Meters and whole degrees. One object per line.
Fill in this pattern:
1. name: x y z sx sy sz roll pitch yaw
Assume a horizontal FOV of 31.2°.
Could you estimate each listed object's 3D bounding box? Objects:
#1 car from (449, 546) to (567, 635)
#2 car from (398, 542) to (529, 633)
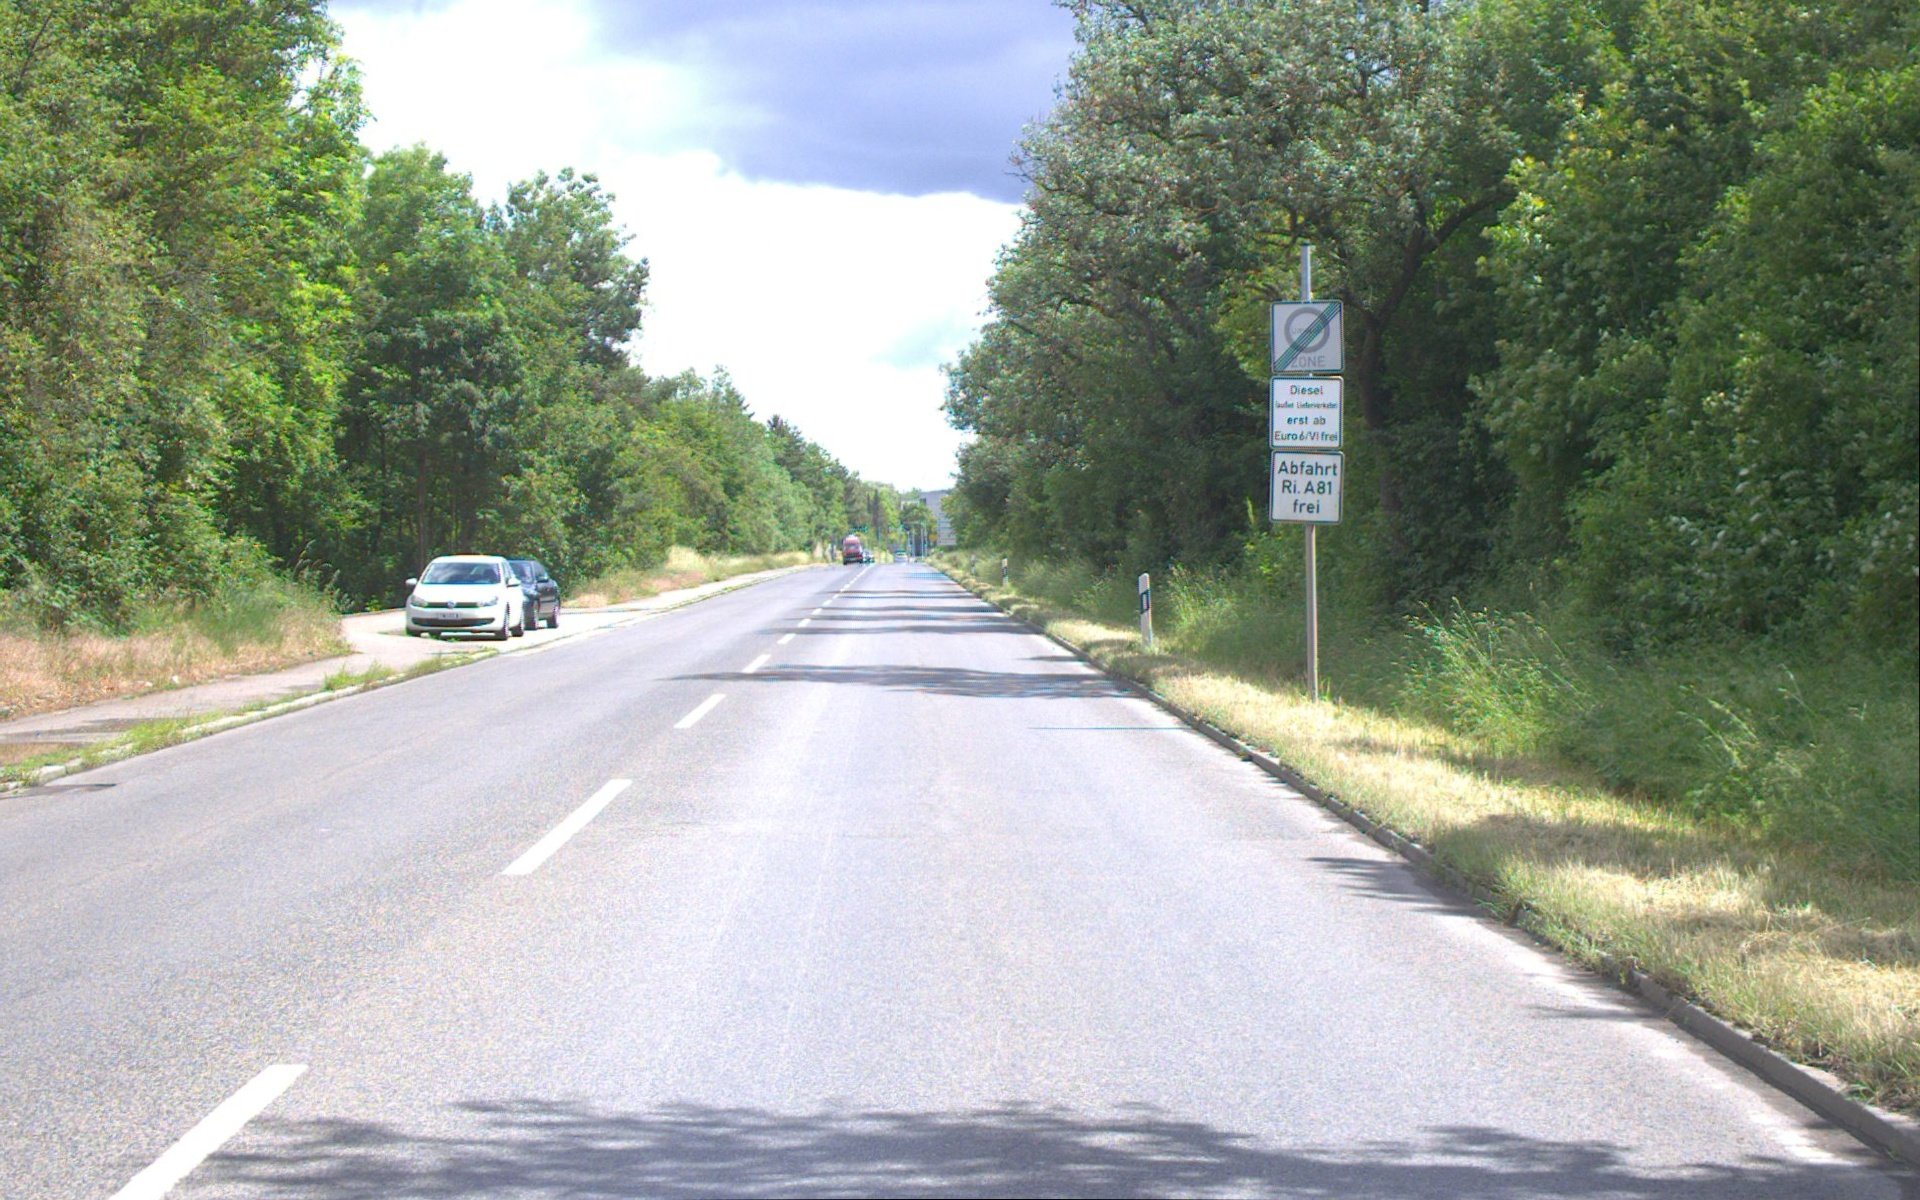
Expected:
1. car: -9.032 -0.209 68.894 1.798 1.619 3.955 -1 2 0
2. car: -8.784 -0.214 61.110 1.798 1.538 3.955 -1 0 -1
